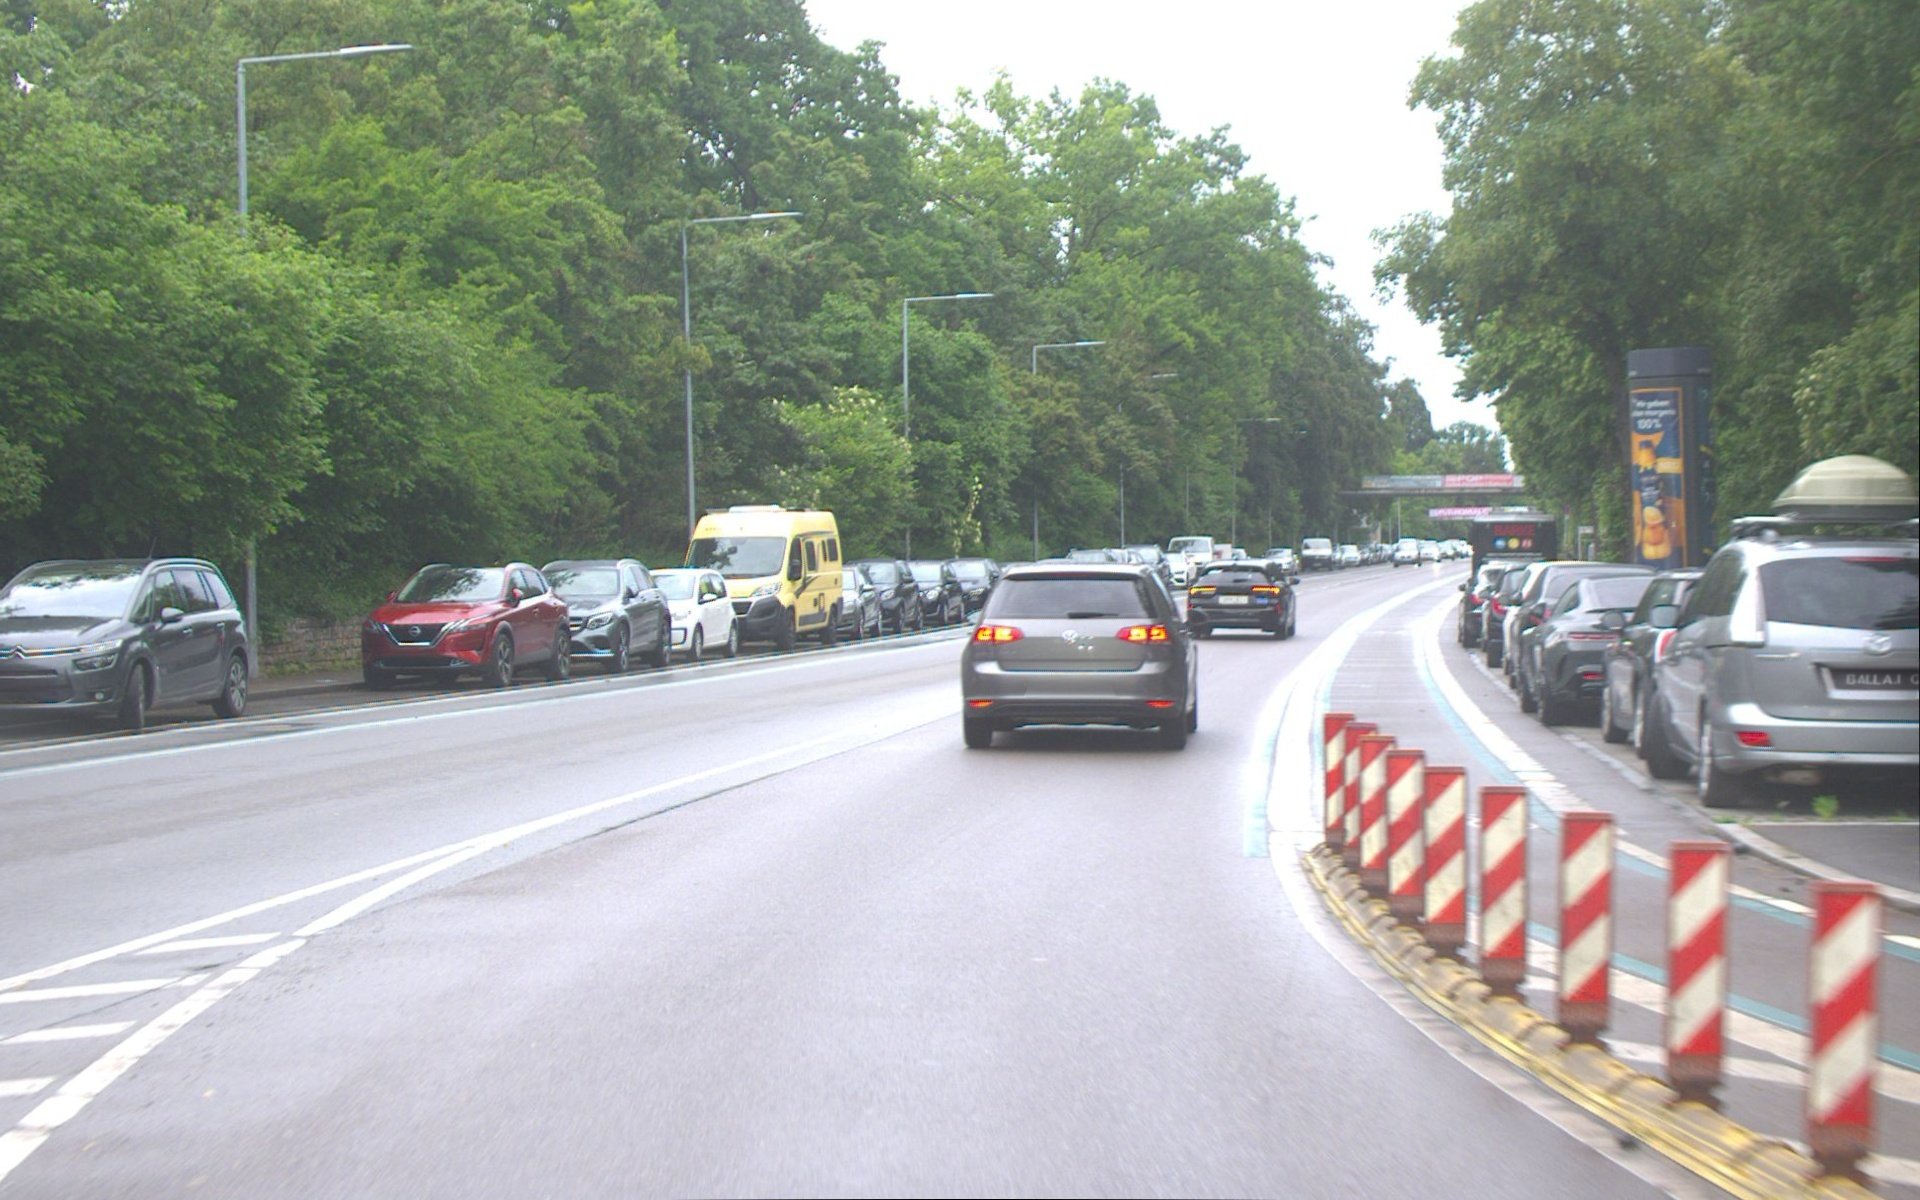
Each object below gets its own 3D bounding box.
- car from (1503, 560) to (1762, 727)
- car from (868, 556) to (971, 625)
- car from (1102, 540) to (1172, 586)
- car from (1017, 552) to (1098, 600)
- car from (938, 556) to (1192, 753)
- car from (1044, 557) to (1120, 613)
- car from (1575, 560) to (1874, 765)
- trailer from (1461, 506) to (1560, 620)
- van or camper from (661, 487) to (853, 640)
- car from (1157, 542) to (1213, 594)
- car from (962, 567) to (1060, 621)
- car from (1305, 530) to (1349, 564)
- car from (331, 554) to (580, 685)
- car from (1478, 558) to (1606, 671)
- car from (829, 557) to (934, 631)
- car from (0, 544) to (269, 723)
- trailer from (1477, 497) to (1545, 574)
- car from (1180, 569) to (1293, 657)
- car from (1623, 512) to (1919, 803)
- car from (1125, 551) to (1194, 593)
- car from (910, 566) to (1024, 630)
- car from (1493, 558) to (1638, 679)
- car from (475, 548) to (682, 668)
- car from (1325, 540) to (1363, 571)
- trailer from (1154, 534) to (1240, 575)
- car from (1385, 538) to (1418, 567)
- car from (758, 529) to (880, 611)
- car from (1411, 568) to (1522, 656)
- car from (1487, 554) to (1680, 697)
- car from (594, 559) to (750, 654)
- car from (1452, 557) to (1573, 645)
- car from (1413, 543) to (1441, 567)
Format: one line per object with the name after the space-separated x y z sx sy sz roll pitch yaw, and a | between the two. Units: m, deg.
6.136 0.351 31.800 1.853 1.394 4.385 1 1 5 | car
-0.892 -0.233 78.170 1.603 1.505 3.975 0 1 11 | car
6.136 -1.298 118.889 1.880 1.556 4.466 0 1 10 | car
2.731 -0.681 95.730 1.697 1.296 4.191 0 1 9 | car
0.898 0.420 27.916 1.871 1.436 4.296 1 0 3 | car
3.589 -0.459 100.551 1.697 1.578 4.137 0 1 9 | car
5.759 0.426 26.273 1.697 1.408 3.703 2 1 5 | car
11.118 -0.767 69.562 1.906 2.240 4.766 0 1 9 | trailer
-3.588 -0.678 61.934 2.144 2.618 5.680 0 1 10 | van or camper
8.900 -1.277 135.744 1.940 2.007 4.739 0 1 7 | car
1.323 -0.159 87.656 1.870 1.299 4.469 0 1 9 | car
21.681 -3.130 202.909 2.160 2.007 5.028 0 1 11 | car
-6.593 0.219 45.433 1.920 1.611 4.488 -1 1 10 | car
8.202 0.169 48.645 1.659 1.460 3.898 2 1 9 | car
-1.640 -0.135 72.875 1.603 1.505 3.137 0 1 11 | car
-8.406 0.277 34.140 1.731 1.643 4.570 0 1 6 | car
18.492 -2.162 115.511 2.132 2.551 4.296 0 1 7 | trailer
5.037 0.207 62.233 1.881 1.461 3.999 2 1 6 | car
5.261 0.301 21.236 1.822 1.609 4.251 0 1 5 | car
7.299 -1.021 125.327 1.994 1.483 4.466 0 1 10 | car
0.198 -0.069 82.447 1.994 1.447 4.137 0 1 11 | car
7.655 0.199 43.724 1.560 1.455 3.675 1 1 6 | car
-5.605 0.079 51.084 1.994 1.694 4.614 0 1 8 | car
25.554 -2.953 228.540 2.160 2.007 5.028 0 1 11 | car
9.691 -1.865 140.537 1.629 1.623 3.664 0 1 41 | trailer
27.269 -2.927 212.189 1.823 1.700 3.855 1 1 10 | car
-2.702 -0.598 66.746 1.680 1.493 4.148 -1 1 7 | car
9.297 0.198 63.372 1.822 1.480 4.199 2 1 6 | car
6.826 0.228 37.998 1.857 1.450 4.749 1 1 8 | car
-4.630 0.083 55.713 1.618 1.444 3.655 -1 1 10 | car
9.364 -0.011 58.509 1.752 1.389 4.445 2 1 6 | car
33.745 -3.245 248.489 1.823 1.700 3.855 1 1 10 | car
